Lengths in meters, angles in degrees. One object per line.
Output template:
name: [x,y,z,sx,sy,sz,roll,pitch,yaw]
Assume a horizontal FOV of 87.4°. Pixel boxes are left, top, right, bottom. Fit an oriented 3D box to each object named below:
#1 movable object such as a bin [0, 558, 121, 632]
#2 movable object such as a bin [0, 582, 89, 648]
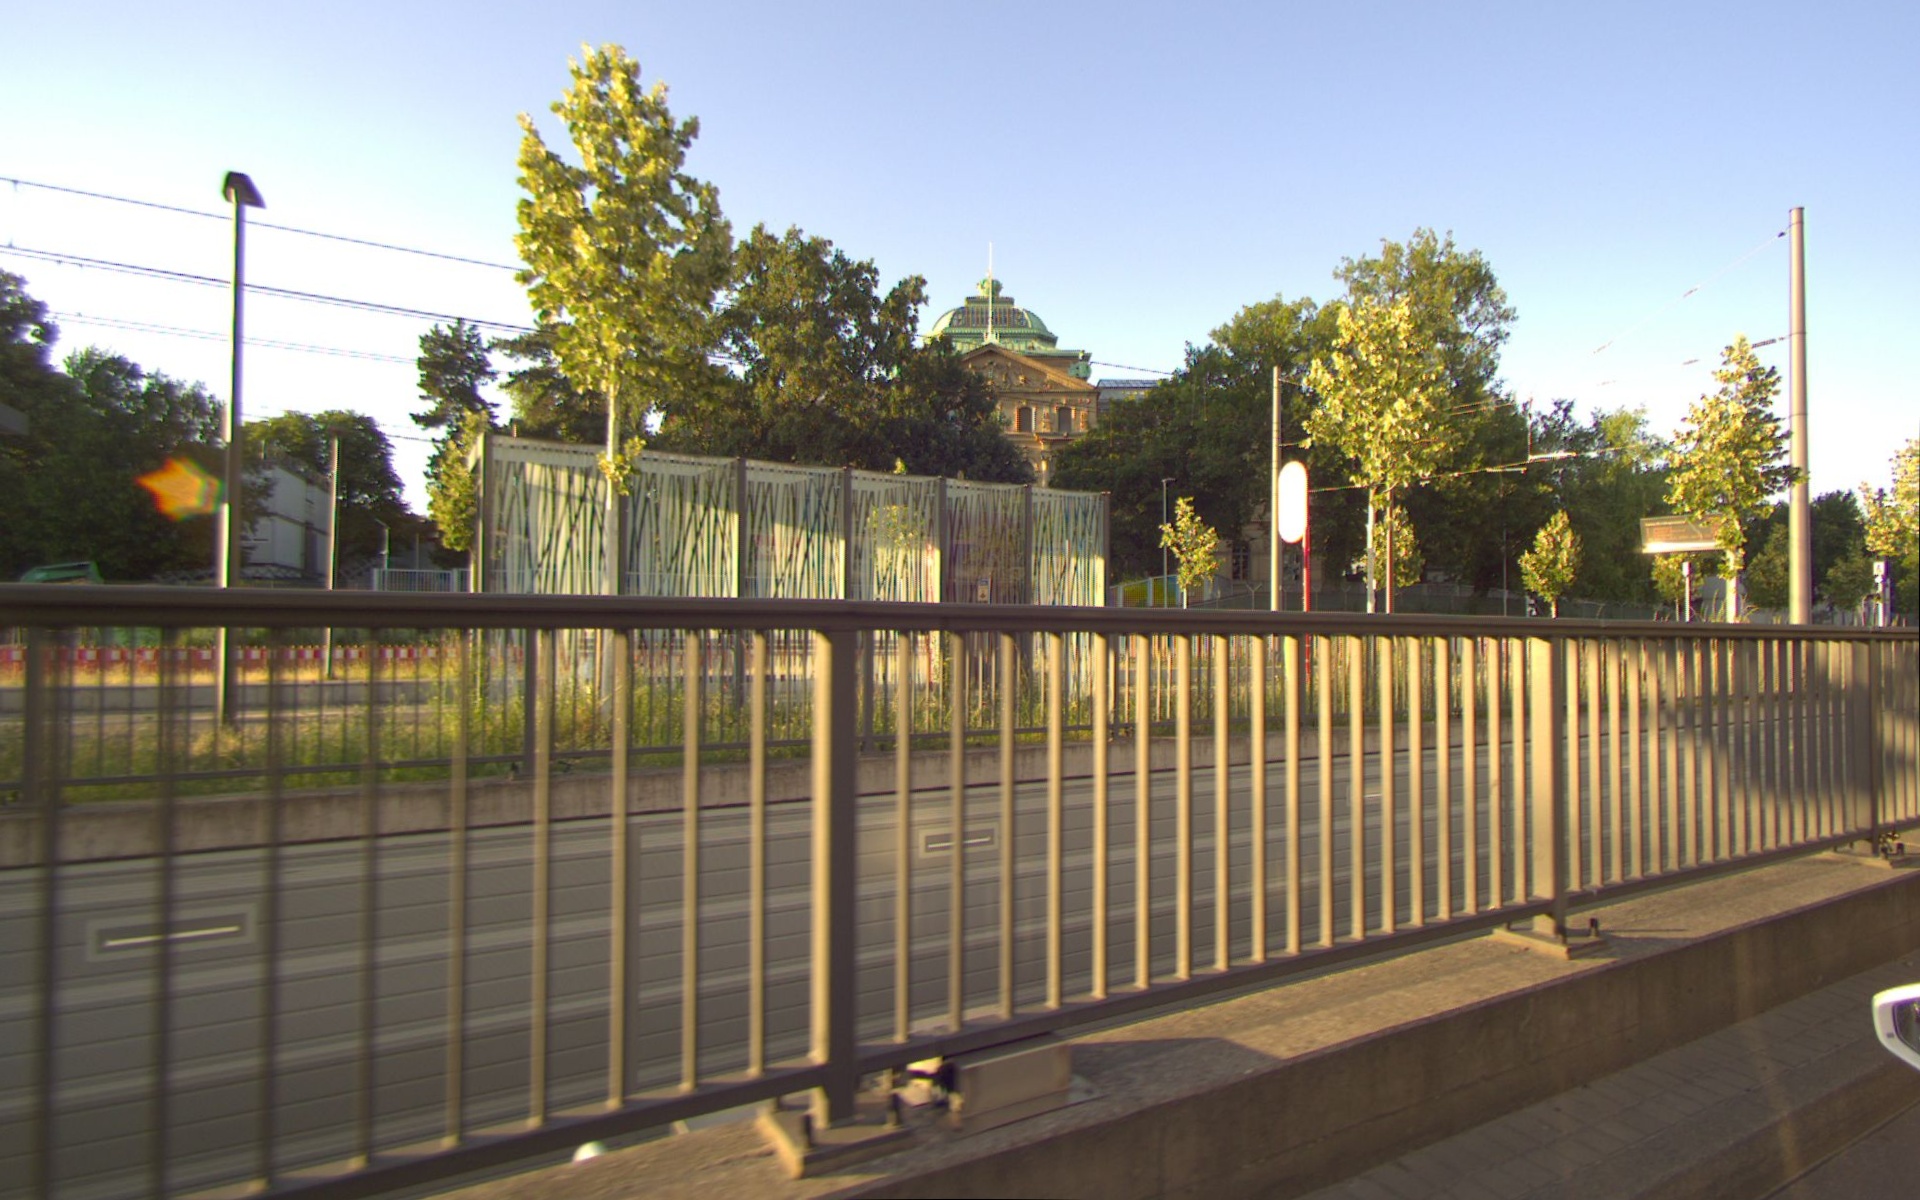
movable object such as a bin: [-35.526,-0.166,39.118,3.950,2.742,1.986,1,-1,-28]
movable object such as a bin: [-33.904,0.512,35.079,4.877,2.276,1.986,2,-1,-28]
